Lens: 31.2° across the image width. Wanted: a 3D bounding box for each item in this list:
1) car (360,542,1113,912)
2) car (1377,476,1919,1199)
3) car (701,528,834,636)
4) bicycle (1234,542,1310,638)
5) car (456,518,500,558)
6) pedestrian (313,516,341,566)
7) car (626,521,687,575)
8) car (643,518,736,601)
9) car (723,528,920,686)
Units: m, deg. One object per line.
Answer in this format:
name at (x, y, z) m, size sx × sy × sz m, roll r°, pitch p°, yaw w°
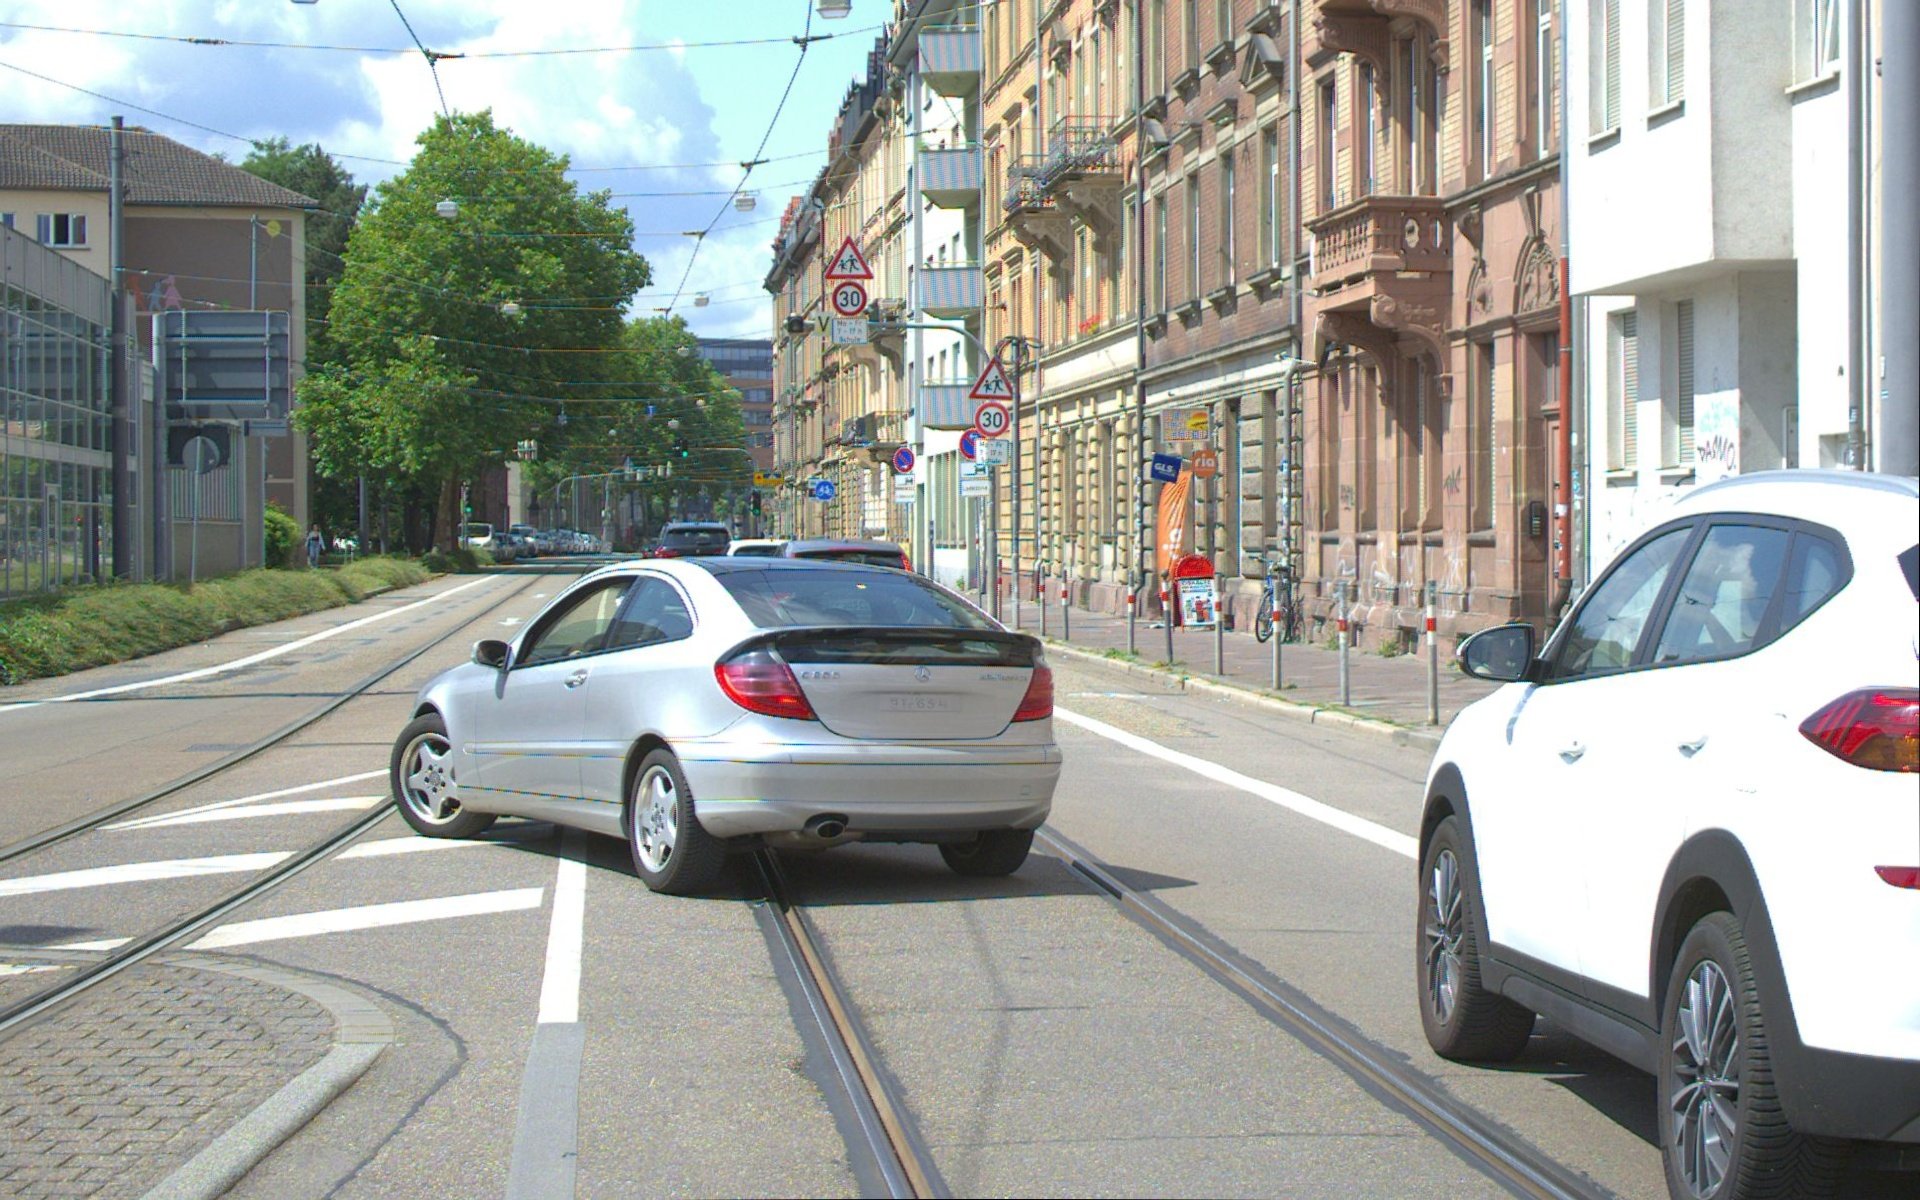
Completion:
car at (-1.171, 0.458, 15.706) m, size 1.814 × 1.415 × 4.188 m, roll -1°, pitch 2°, yaw -29°
car at (2.308, 0.588, 8.357) m, size 1.852 × 1.628 × 4.181 m, roll 1°, pitch 0°, yaw -3°
car at (-2.920, -0.295, 51.535) m, size 1.814 × 1.519 × 3.956 m, roll -1°, pitch 2°, yaw -6°
bicycle at (4.001, -0.145, 44.253) m, size 0.586 × 1.174 × 2.205 m, roll -1°, pitch 1°, yaw -5°
car at (-23.409, -3.029, 167.016) m, size 1.949 × 1.888 × 4.566 m, roll 0°, pitch 1°, yaw -6°
pedestrian at (-23.585, -2.196, 128.089) m, size 0.880 × 1.859 × 1.081 m, roll -1°, pitch 1°, yaw -5°
car at (-10.682, -1.835, 120.714) m, size 1.993 × 1.853 × 4.001 m, roll 0°, pitch 1°, yaw -7°
car at (-5.581, -0.859, 70.694) m, size 1.814 × 1.656 × 4.086 m, roll 0°, pitch 1°, yaw -6°
car at (-1.505, 0.024, 36.109) m, size 1.814 × 1.519 × 4.086 m, roll -1°, pitch 2°, yaw -6°
